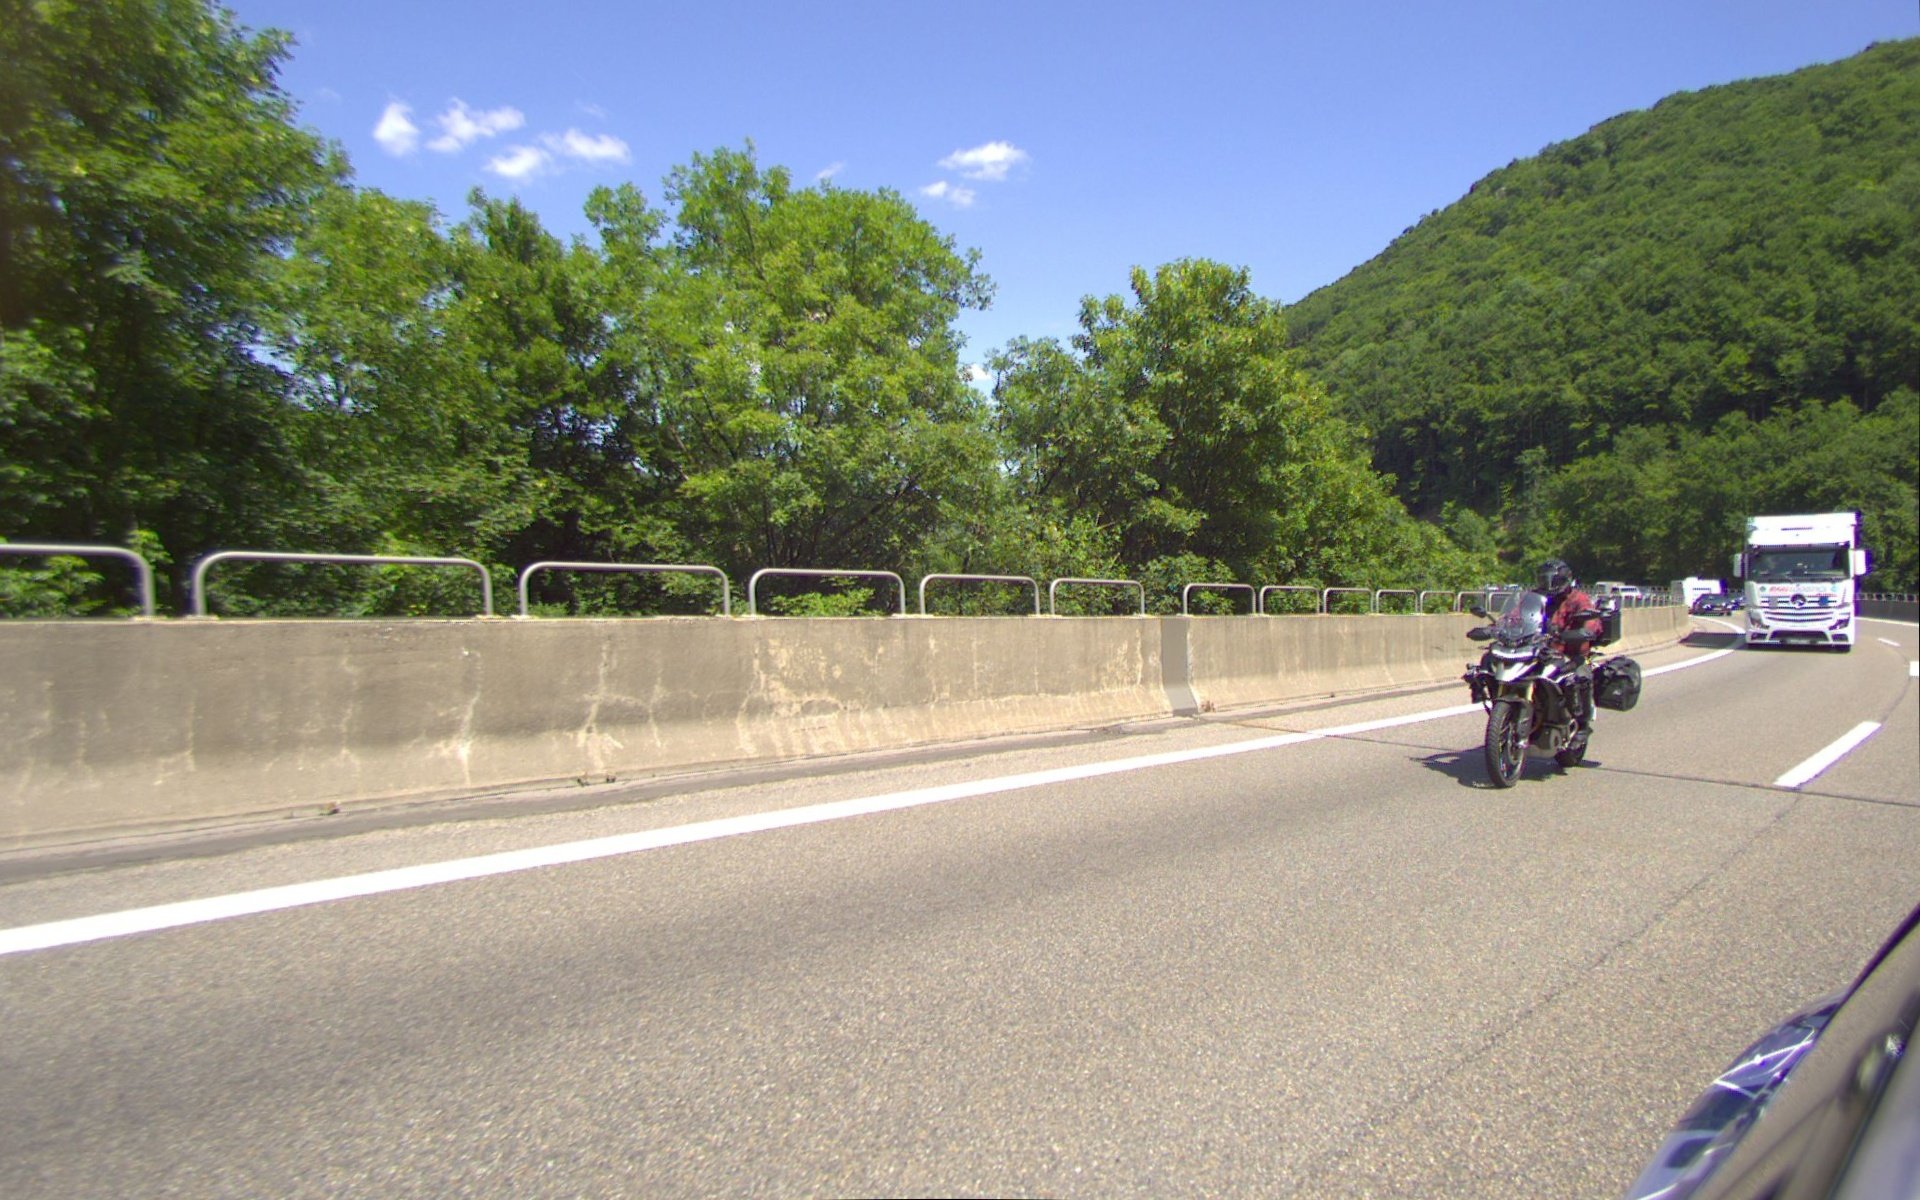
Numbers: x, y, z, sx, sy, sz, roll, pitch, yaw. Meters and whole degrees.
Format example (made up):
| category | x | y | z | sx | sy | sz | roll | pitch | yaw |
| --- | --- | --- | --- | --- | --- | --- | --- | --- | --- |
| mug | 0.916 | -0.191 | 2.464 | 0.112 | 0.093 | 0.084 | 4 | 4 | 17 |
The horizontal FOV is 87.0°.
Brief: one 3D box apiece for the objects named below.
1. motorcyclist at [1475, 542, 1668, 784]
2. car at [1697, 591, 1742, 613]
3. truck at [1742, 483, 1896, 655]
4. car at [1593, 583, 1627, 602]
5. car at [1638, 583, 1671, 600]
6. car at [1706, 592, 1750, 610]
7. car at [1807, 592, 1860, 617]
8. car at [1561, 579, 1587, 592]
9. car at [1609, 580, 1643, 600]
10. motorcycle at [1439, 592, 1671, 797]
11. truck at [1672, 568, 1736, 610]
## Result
| category | x | y | z | sx | sy | sz | roll | pitch | yaw |
| --- | --- | --- | --- | --- | --- | --- | --- | --- | --- |
| motorcyclist | 5.115 | 0.459 | 8.456 | 1.315 | 1.823 | 1.062 | 0 | 1 | -43 |
| car | 54.685 | 0.120 | 72.937 | 1.737 | 1.507 | 3.950 | 1 | 1 | 24 |
| truck | 26.717 | -0.832 | 32.108 | 2.955 | 4.184 | 16.477 | 1 | 1 | 38 |
| car | 70.864 | -0.857 | 110.396 | 1.971 | 2.039 | 3.982 | 1 | 1 | 14 |
| car | 78.409 | -0.973 | 114.318 | 1.973 | 1.816 | 3.979 | 1 | 1 | 17 |
| car | 65.722 | 0.086 | 86.663 | 1.976 | 1.471 | 3.972 | 1 | 1 | 21 |
| car | 55.591 | 0.273 | 64.474 | 1.741 | 1.507 | 3.941 | 1 | 1 | 29 |
| car | 85.347 | -2.006 | 140.709 | 1.971 | 1.816 | 3.983 | 1 | 1 | 14 |
| car | 69.502 | -1.028 | 105.625 | 1.975 | 2.039 | 3.975 | 1 | 1 | 19 |
| motorcycle | 5.010 | 0.659 | 8.407 | 2.636 | 1.437 | 0.973 | 0 | 1 | -44 |
| truck | 57.087 | -0.851 | 77.824 | 2.591 | 3.141 | 6.797 | 1 | 1 | 25 |
